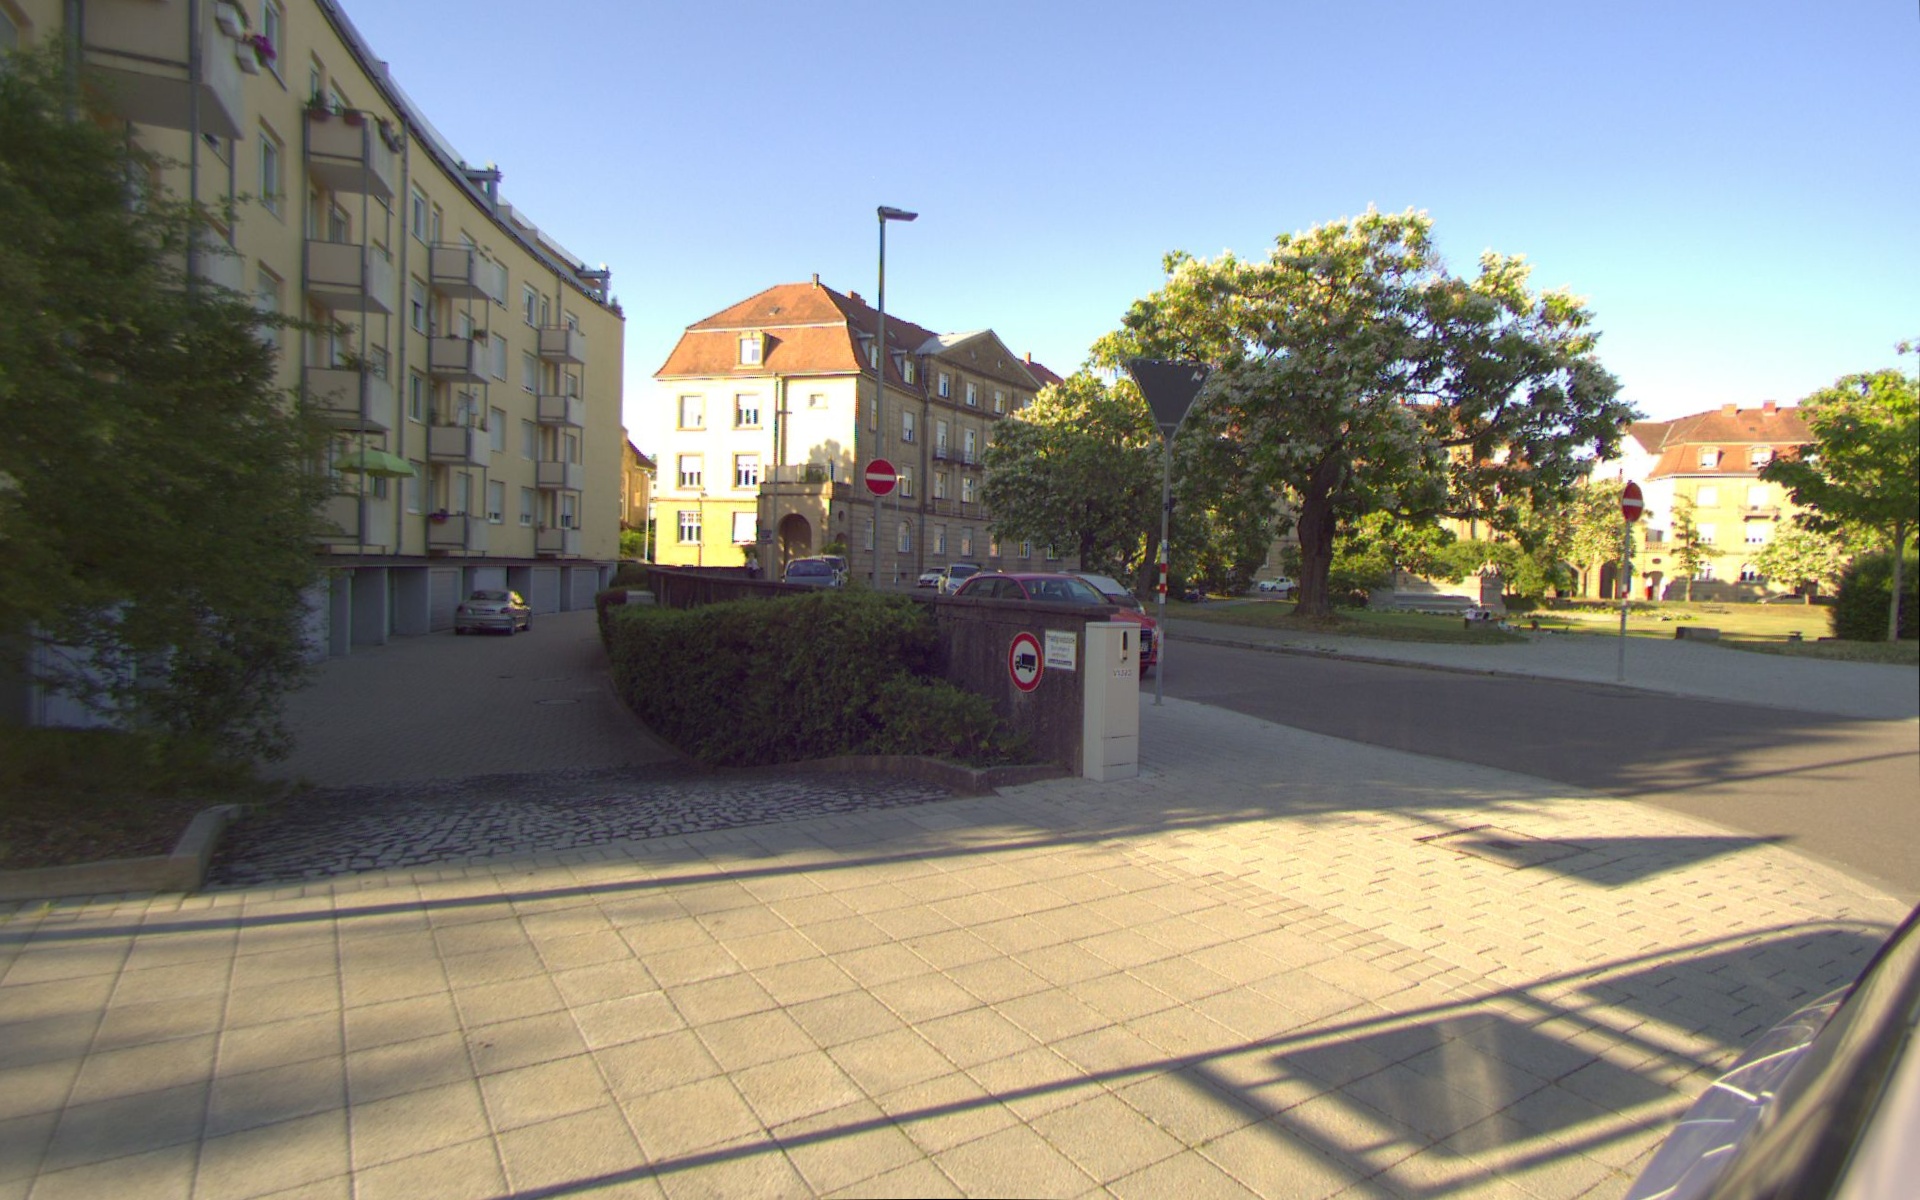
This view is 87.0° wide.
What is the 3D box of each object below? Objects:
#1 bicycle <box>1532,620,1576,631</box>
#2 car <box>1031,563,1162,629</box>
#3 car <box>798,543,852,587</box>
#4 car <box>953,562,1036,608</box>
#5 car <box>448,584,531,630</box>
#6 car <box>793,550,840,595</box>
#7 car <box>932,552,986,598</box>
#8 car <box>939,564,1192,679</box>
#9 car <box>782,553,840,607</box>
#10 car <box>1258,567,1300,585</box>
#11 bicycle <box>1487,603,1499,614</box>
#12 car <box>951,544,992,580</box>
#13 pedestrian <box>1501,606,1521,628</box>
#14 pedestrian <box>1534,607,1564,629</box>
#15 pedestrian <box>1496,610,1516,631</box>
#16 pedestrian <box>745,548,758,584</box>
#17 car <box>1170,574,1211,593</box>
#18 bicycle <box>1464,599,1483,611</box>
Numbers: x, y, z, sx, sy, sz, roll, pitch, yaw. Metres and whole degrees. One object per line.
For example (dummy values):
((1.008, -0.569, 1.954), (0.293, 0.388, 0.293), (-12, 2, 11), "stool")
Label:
((23.321, 1.000, 39.714), (1.894, 0.387, 0.660), (0, 2, -31), "bicycle")
((3.307, -0.140, 25.330), (1.690, 1.445, 4.009), (2, 1, -16), "car")
((-5.892, -1.499, 44.600), (1.675, 1.818, 4.046), (1, 1, 2), "car")
((1.034, -0.500, 32.302), (1.690, 1.313, 3.712), (2, 1, -13), "car")
((-14.644, 0.193, 31.671), (1.608, 1.296, 3.379), (1, 1, -12), "car")
((-5.405, -1.073, 38.459), (1.672, 1.596, 4.054), (-1, 2, -7), "car")
((-0.085, -0.976, 40.131), (1.691, 1.648, 3.709), (3, 1, -7), "car")
((1.417, 0.196, 15.157), (1.754, 1.437, 4.052), (-2, 3, -29), "car")
((-4.709, -0.684, 32.137), (1.672, 1.596, 4.054), (-1, 2, -8), "car")
((30.687, -2.275, 97.289), (3.628, 1.517, 1.729), (2, 1, -27), "car")
((30.394, 0.486, 57.723), (0.481, 0.590, 0.436), (1, 1, 18), "bicycle")
((0.656, -2.006, 54.077), (1.697, 1.779, 3.696), (3, 1, 8), "car")
((21.768, 0.661, 39.975), (0.489, 0.845, 0.455), (1, 1, 0), "pedestrian")
((21.955, 0.674, 37.751), (0.796, 0.774, 0.497), (3, 1, 6), "pedestrian")
((20.472, 0.780, 37.962), (0.446, 0.756, 0.498), (1, 1, -37), "pedestrian")
((-9.436, -1.526, 45.807), (0.496, 1.612, 0.527), (1, 1, -5), "pedestrian")
((21.085, -1.507, 92.460), (1.771, 1.603, 3.935), (2, 2, 45), "car")
((29.430, 0.305, 58.033), (0.893, 0.660, 0.436), (2, 1, 18), "bicycle")
